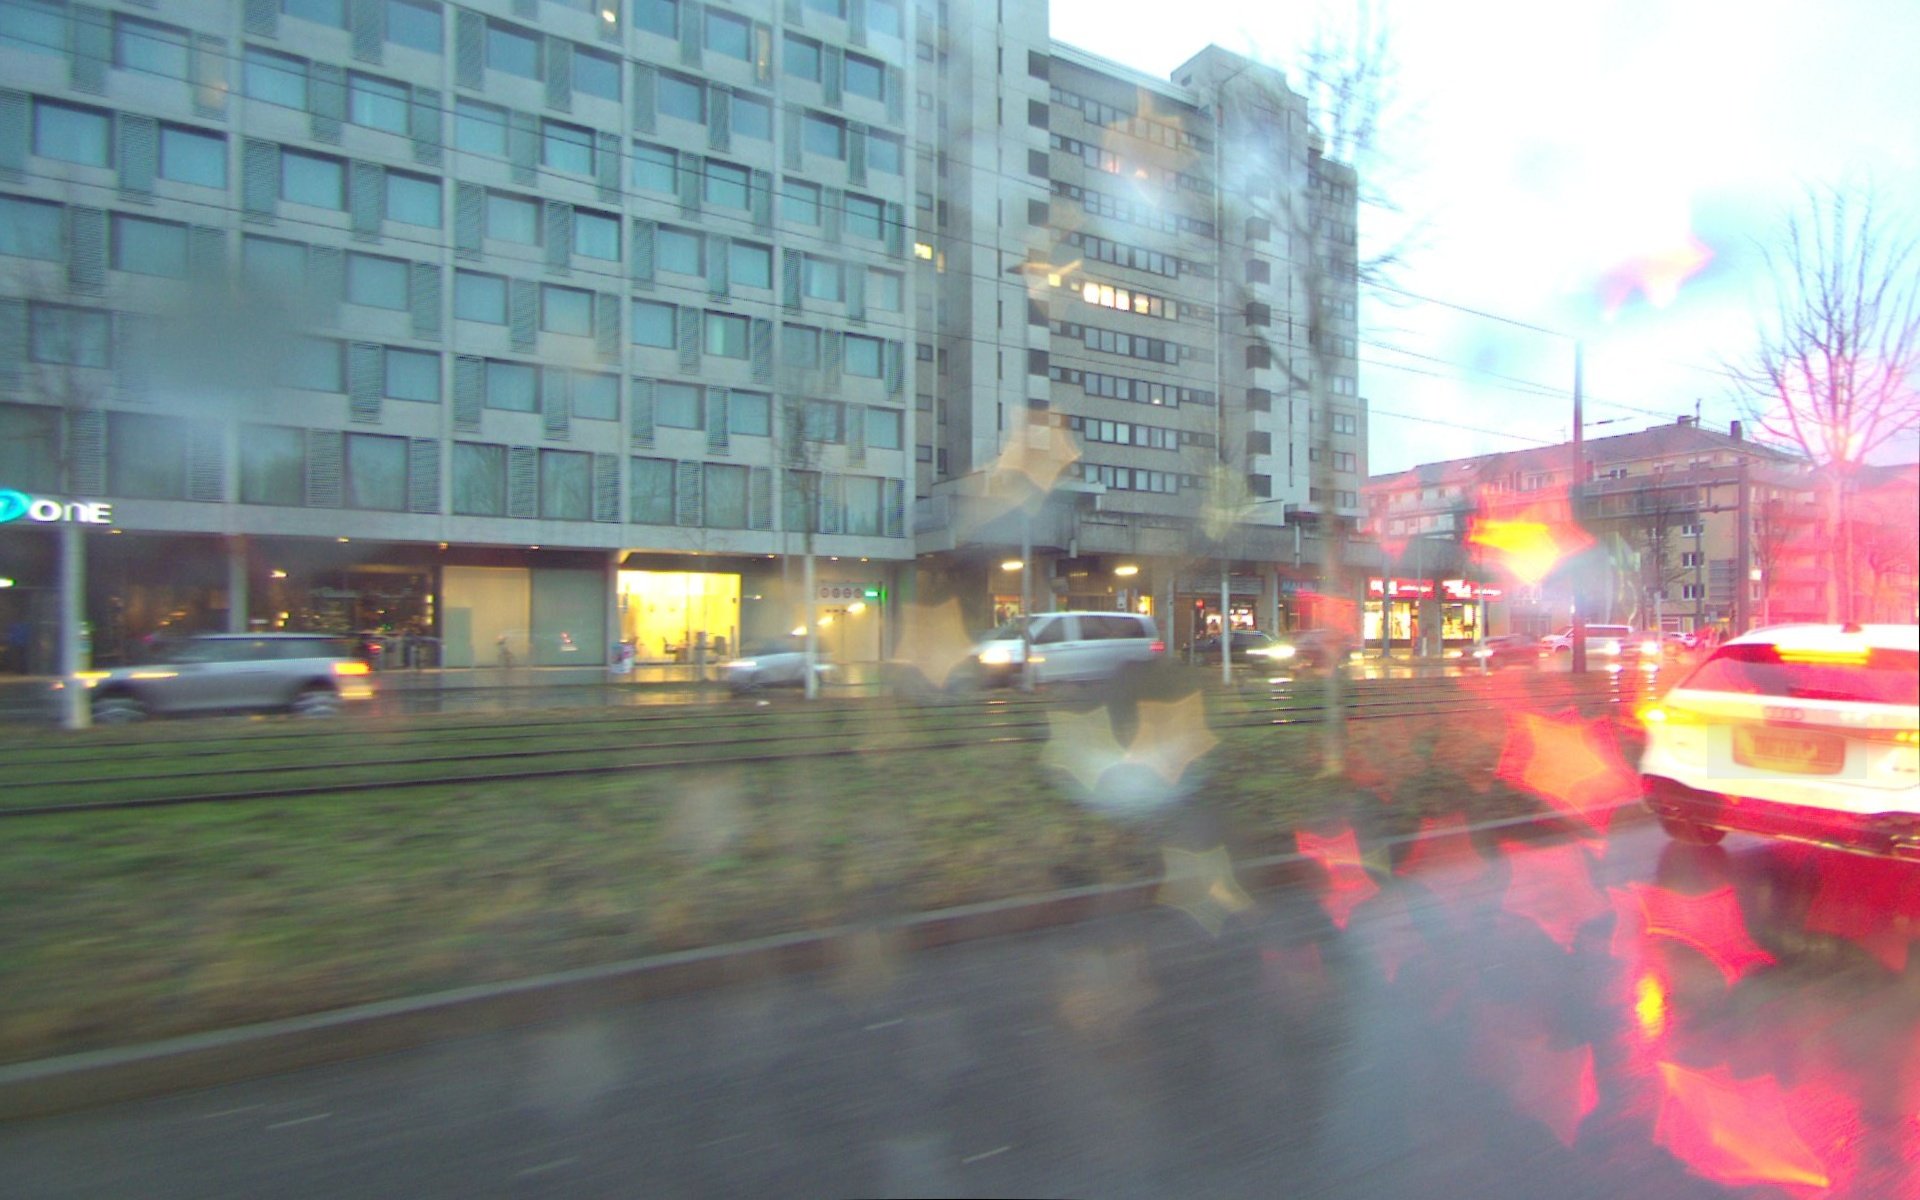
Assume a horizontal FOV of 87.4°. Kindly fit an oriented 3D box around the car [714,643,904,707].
[{"bbox_3d":[-4.016,1.946,26.963,4.736,1.536,1.887,1,-2,-30],"label":"car"}]

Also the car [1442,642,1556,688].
[{"bbox_3d":[22.303,2.629,41.546,4.858,1.741,1.887,1,-1,-30],"label":"car"}]

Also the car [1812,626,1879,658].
[{"bbox_3d":[56.384,2.646,63.934,5.109,1.937,1.982,1,-2,-34],"label":"car"}]

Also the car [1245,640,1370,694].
[{"bbox_3d":[12.747,2.404,36.767,4.477,1.837,1.887,1,-2,-30],"label":"car"}]

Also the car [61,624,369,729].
[{"bbox_3d":[-11.402,1.113,15.742,3.664,1.450,1.886,1,-2,-31],"label":"car"}]

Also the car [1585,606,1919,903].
[{"bbox_3d":[6.299,0.802,6.594,4.560,1.424,1.837,1,0,-31],"label":"car"}]

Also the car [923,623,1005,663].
[{"bbox_3d":[0.144,1.911,45.764,1.709,1.718,4.336,1,-2,-32],"label":"car"}]

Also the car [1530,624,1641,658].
[{"bbox_3d":[36.317,2.391,58.460,5.059,1.937,2.001,-1,-2,15],"label":"car"}]

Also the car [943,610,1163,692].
[{"bbox_3d":[2.243,1.149,23.594,5.059,1.741,1.886,1,-2,-31],"label":"car"}]

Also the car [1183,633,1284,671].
[{"bbox_3d":[11.984,2.242,44.010,3.924,1.405,1.935,2,0,25],"label":"car"}]

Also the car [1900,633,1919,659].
[{"bbox_3d":[62.363,2.940,64.453,4.530,1.655,1.885,1,-2,-32],"label":"car"}]
